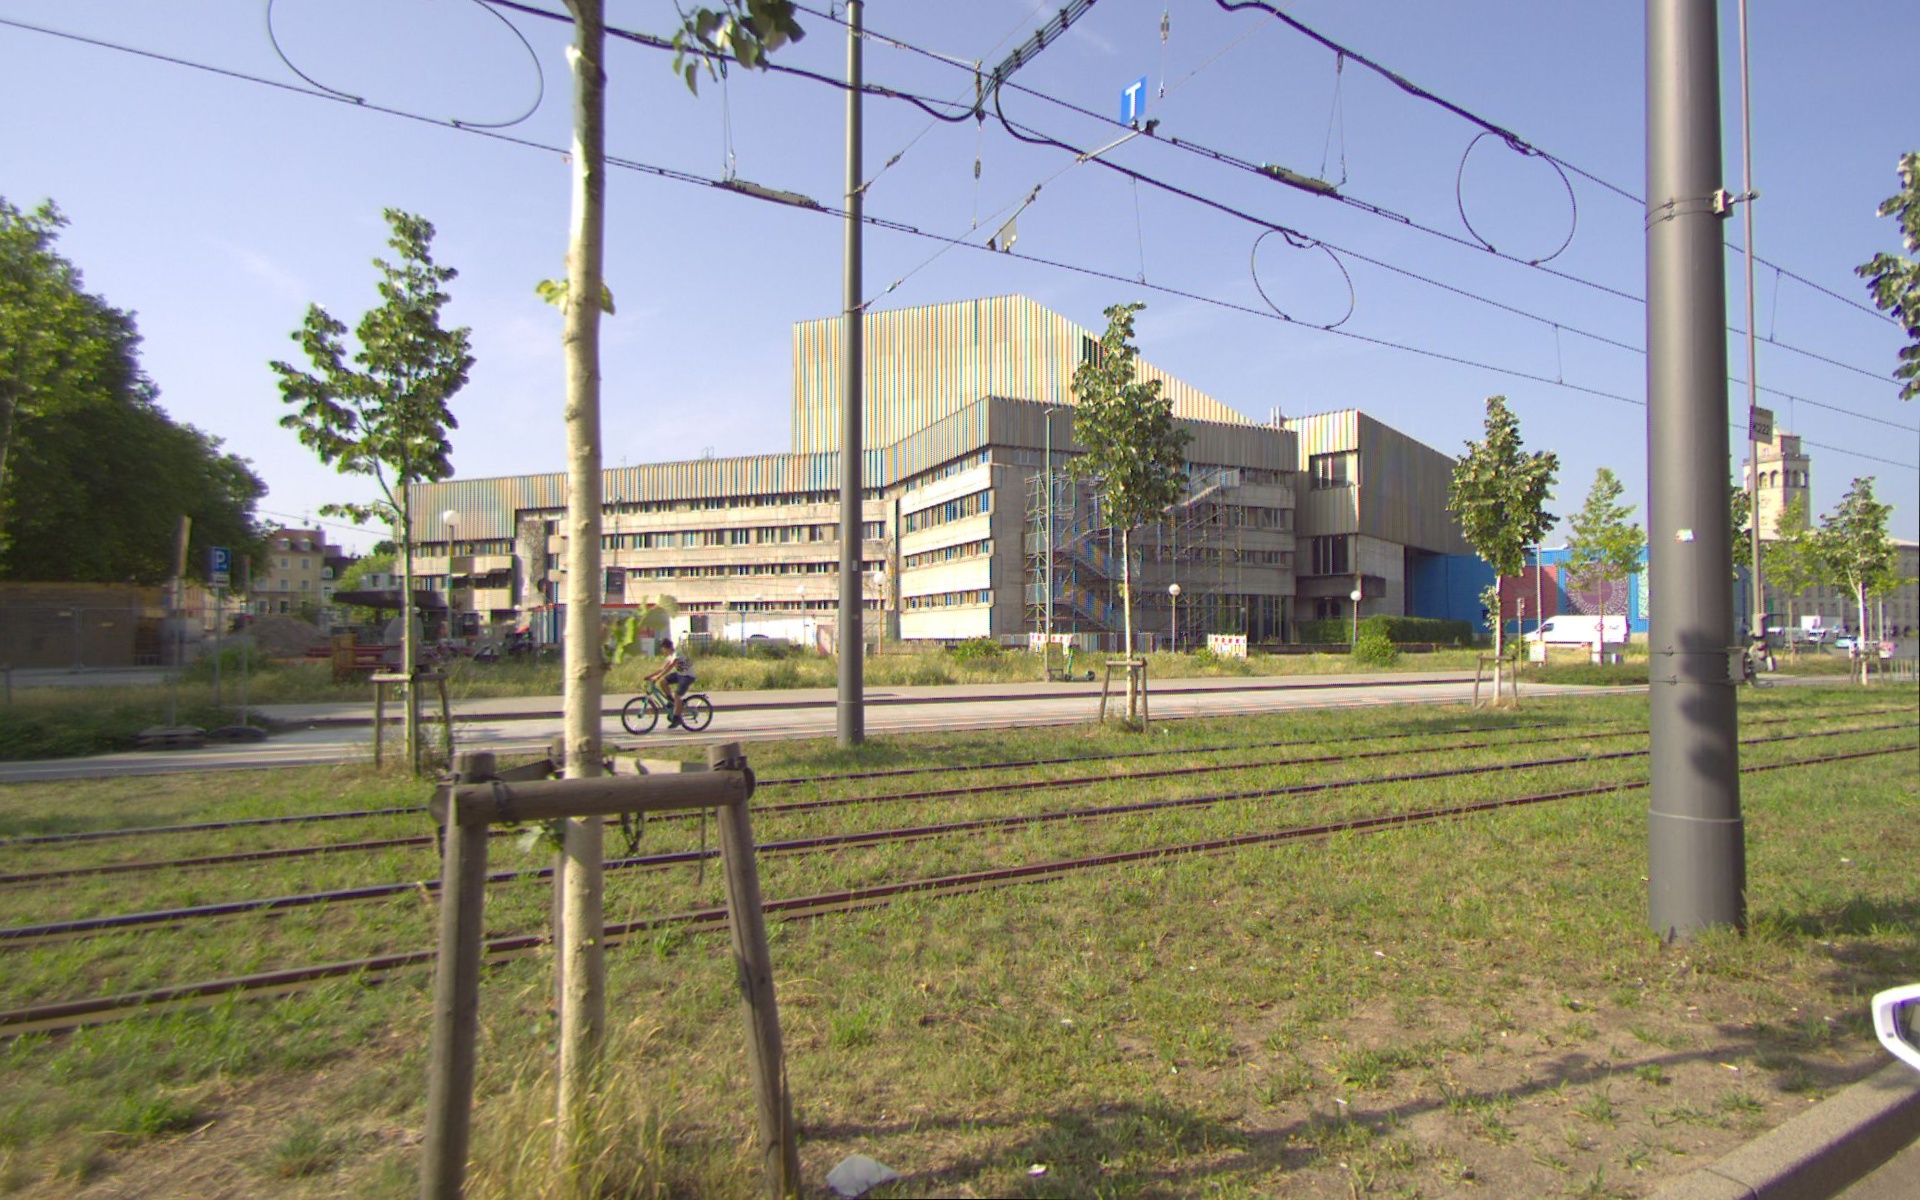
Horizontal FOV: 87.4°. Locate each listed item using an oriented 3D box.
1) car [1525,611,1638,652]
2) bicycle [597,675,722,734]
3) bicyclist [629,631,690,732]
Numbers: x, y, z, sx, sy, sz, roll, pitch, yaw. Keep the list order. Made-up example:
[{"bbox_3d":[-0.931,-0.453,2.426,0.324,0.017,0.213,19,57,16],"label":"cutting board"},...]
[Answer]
[{"bbox_3d":[45.739,2.296,74.050,6.792,2.674,2.503,2,0,40],"label":"car"},{"bbox_3d":[-5.367,1.850,18.005,2.054,0.973,0.659,2,-4,-31],"label":"bicycle"},{"bbox_3d":[-5.398,1.451,18.020,0.908,1.758,0.644,2,-4,-30],"label":"bicyclist"}]
